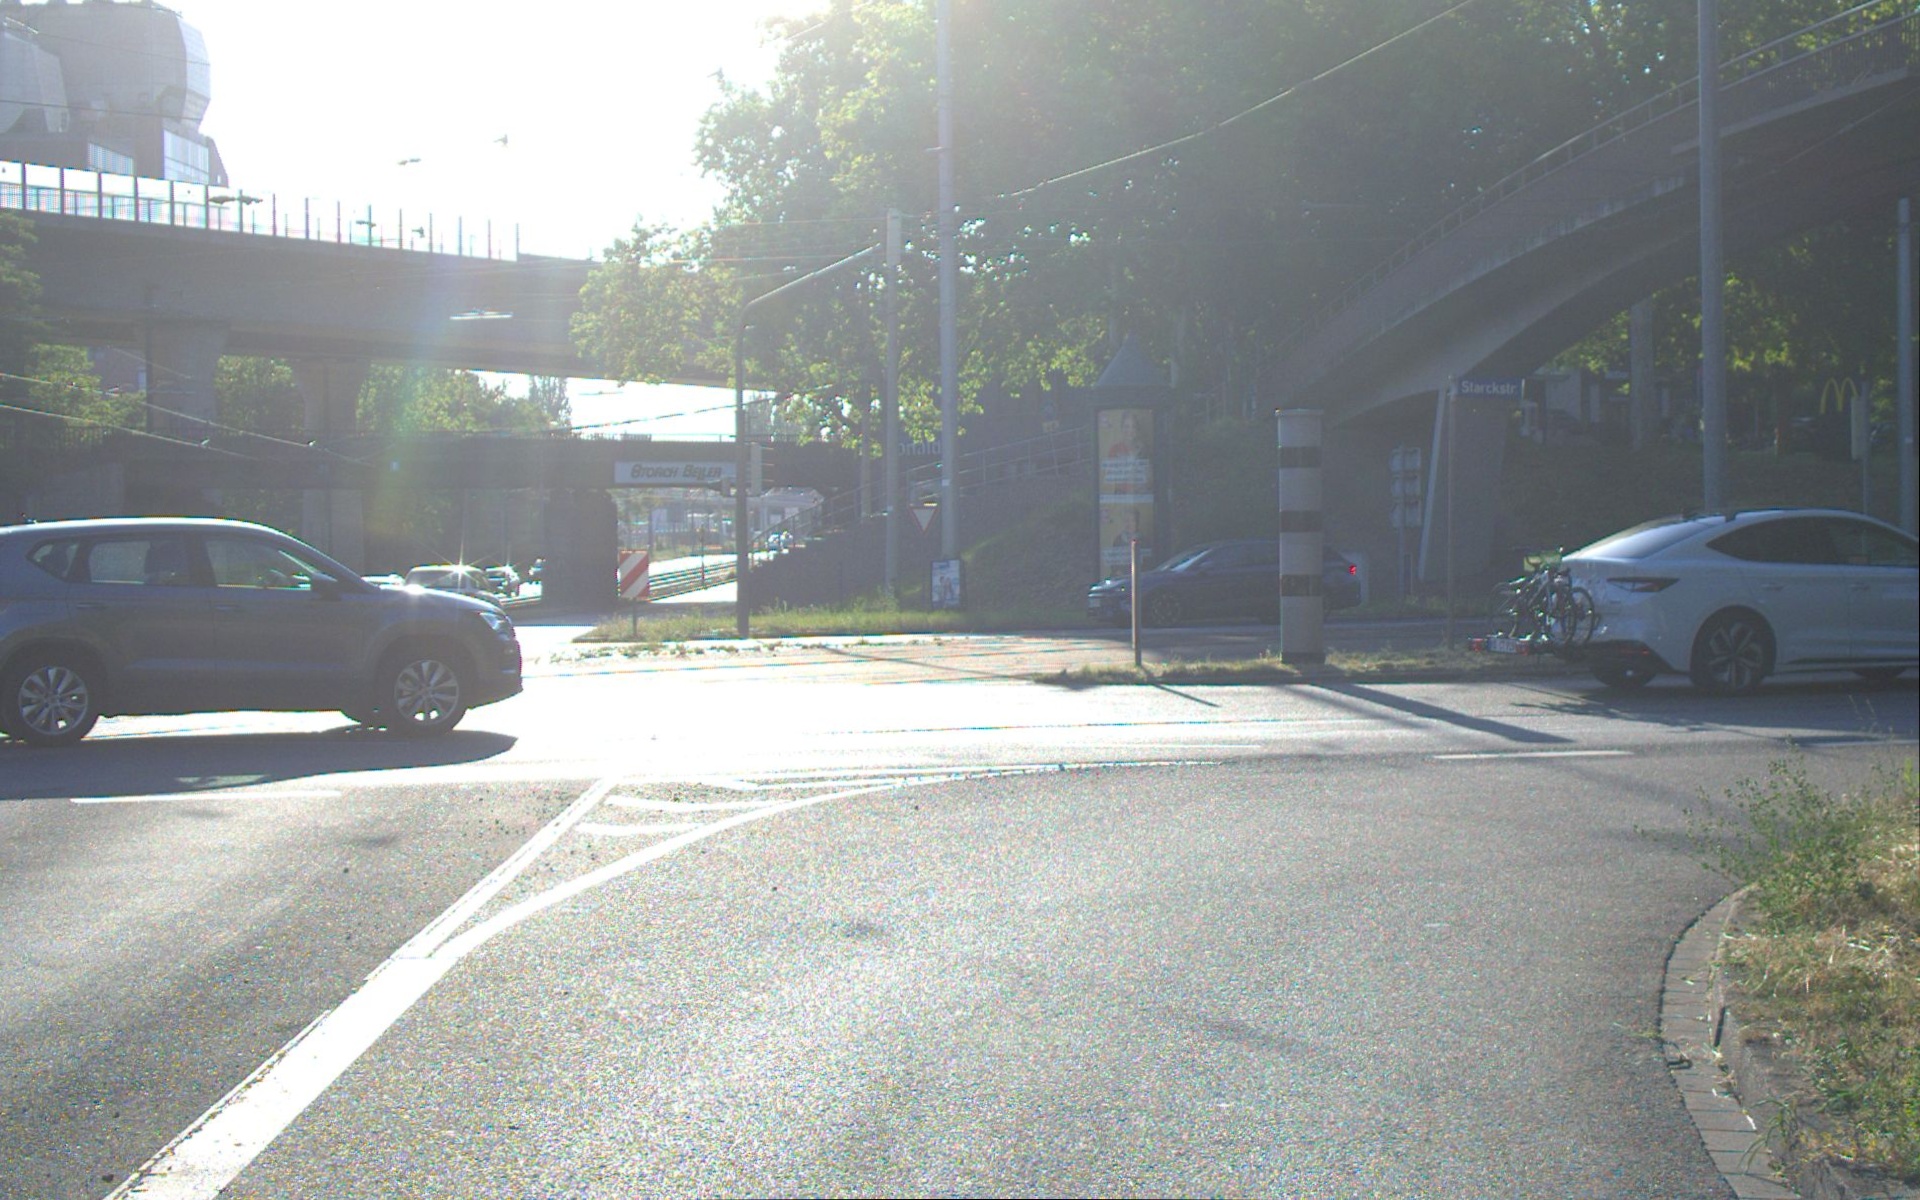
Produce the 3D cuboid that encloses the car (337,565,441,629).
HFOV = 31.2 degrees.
[{"bbox_3d":[-13.216,-0.086,79.824,1.665,1.400,4.445,0,1,0],"label":"car"}]

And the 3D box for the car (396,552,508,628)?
[{"bbox_3d":[-9.704,-0.217,65.874,1.665,1.400,4.197,0,1,-2],"label":"car"}]

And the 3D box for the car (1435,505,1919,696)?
[{"bbox_3d":[6.948,-0.017,30.116,5.348,1.569,1.741,0,1,-21],"label":"car"}]

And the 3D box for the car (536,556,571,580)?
[{"bbox_3d":[-25.044,-1.984,211.895,1.606,1.414,4.008,0,1,1],"label":"car"}]

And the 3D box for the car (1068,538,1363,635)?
[{"bbox_3d":[4.232,-0.223,57.095,4.574,1.569,1.694,0,1,-17],"label":"car"}]

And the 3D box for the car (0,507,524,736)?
[{"bbox_3d":[-5.450,0.130,24.977,4.234,1.569,1.694,0,1,-22],"label":"car"}]
